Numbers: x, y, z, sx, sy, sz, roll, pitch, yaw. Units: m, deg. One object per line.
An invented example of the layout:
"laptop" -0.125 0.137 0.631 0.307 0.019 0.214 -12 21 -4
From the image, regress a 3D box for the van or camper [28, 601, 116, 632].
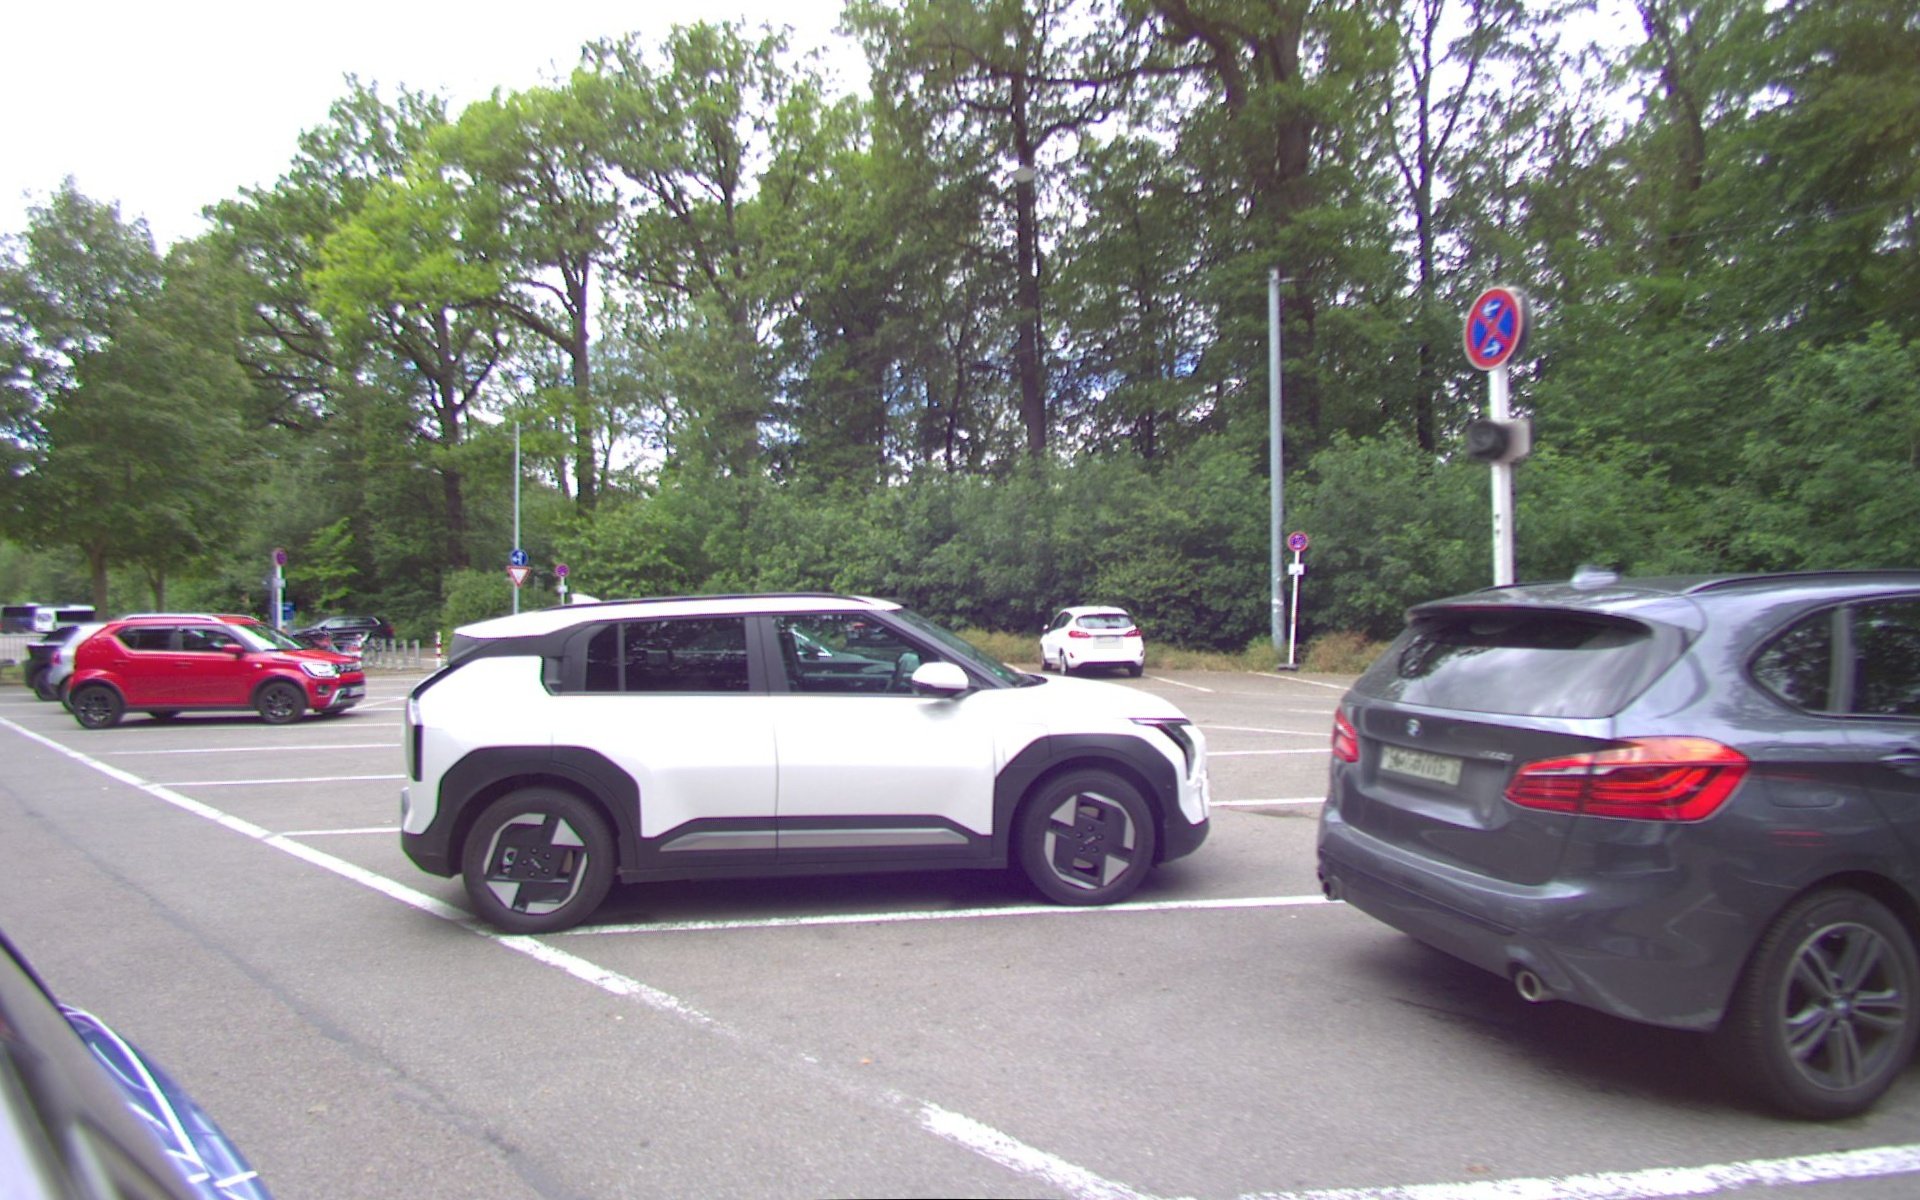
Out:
"van or camper" -85.487 1.566 97.591 2.040 2.871 7.339 -1 -1 0

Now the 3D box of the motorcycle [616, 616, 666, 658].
"motorcycle" -9.631 1.098 30.621 0.722 1.217 2.026 -1 -1 5

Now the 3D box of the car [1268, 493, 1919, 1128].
"car" 3.458 0.516 3.804 3.934 1.566 1.877 -1 -1 -11

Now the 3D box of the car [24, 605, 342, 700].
"car" -13.141 0.848 17.348 3.937 1.495 1.880 0 -1 -7

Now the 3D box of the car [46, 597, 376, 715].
"car" -10.962 0.791 15.045 3.597 1.597 1.689 -1 -1 -7

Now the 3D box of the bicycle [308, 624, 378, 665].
"bicycle" -17.862 1.264 29.330 1.671 1.120 0.483 0 -1 -42

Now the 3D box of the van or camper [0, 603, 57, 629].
"van or camper" -104.481 1.745 112.017 2.176 2.871 7.329 -1 -1 5

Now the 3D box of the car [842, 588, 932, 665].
"car" -1.891 0.669 26.093 2.080 1.780 4.713 -1 -1 -4

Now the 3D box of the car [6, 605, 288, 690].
"car" -15.770 0.894 19.807 4.041 1.534 1.831 -1 -1 -2

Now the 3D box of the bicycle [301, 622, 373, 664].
"bicycle" -17.432 1.176 28.332 1.660 1.120 0.506 0 -1 -44

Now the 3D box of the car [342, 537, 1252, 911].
"car" -0.768 0.542 5.574 4.124 1.609 1.849 -1 -1 -7

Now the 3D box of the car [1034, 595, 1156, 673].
"car" 2.849 0.708 22.227 1.842 1.522 4.003 -1 -1 -4

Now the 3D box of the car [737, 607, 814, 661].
"car" -5.140 0.913 28.622 1.714 1.386 4.004 -1 -1 -4

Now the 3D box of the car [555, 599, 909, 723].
"car" -2.882 0.750 13.342 4.248 1.453 1.872 -1 -1 -7
